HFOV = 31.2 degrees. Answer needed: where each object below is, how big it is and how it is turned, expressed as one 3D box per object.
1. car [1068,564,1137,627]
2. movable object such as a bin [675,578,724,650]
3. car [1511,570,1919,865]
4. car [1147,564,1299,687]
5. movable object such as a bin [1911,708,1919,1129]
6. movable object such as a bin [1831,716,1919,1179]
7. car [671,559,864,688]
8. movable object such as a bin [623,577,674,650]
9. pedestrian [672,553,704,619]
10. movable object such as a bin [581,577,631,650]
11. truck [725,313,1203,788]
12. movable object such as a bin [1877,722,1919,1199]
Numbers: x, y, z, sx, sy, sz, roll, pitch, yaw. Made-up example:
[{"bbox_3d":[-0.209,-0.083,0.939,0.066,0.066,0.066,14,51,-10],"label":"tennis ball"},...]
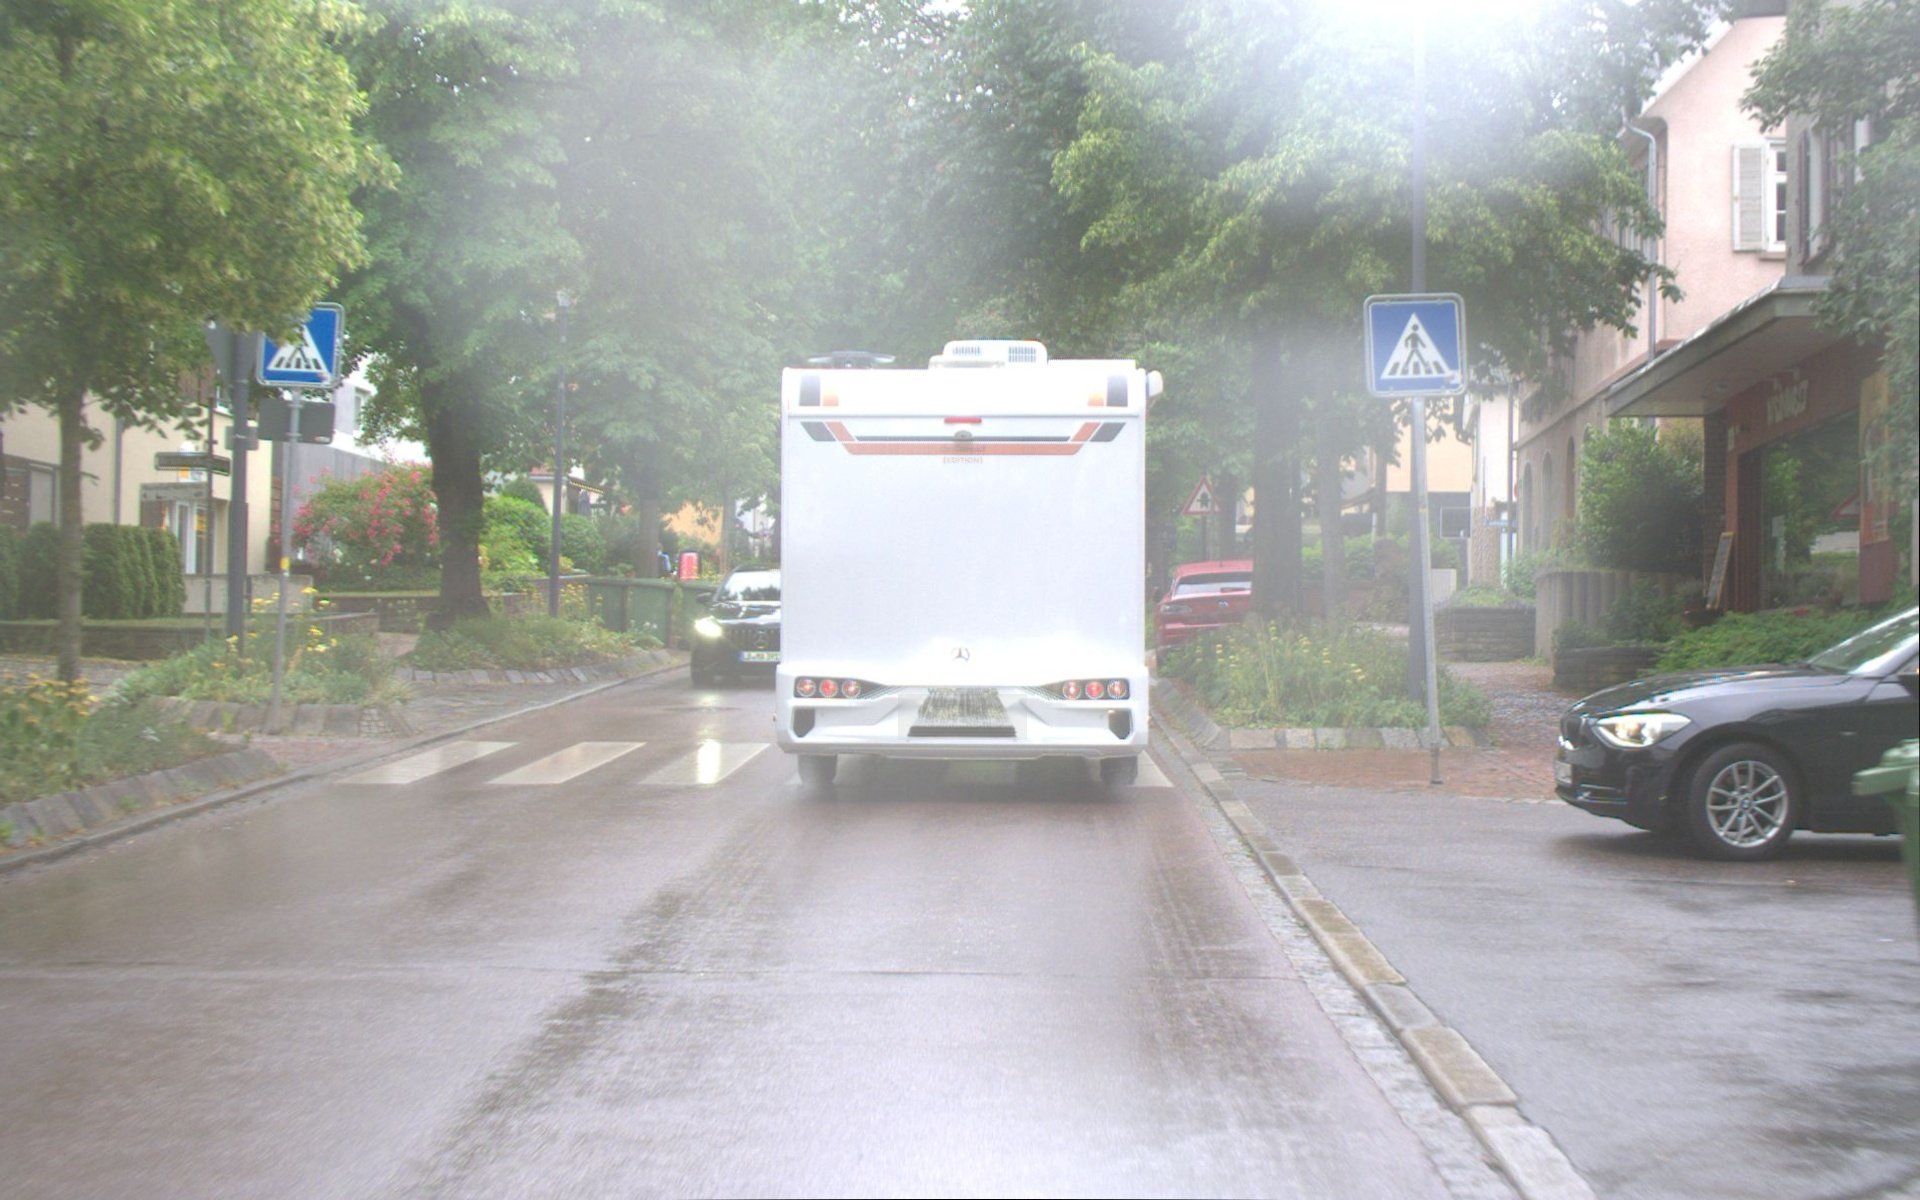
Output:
[{"bbox_3d":[3.527,-0.098,85.518,1.649,1.536,3.530,0,-1,2],"label":"car"},{"bbox_3d":[-3.971,0.213,52.482,0.670,1.091,0.817,1,-1,1],"label":"movable object such as a bin"},{"bbox_3d":[5.219,0.623,18.160,4.283,1.412,1.840,2,1,1],"label":"car"},{"bbox_3d":[3.458,0.295,45.401,1.855,1.467,4.364,2,1,4],"label":"car"},{"bbox_3d":[2.955,0.840,9.171,0.704,1.107,0.570,-1,-1,26],"label":"movable object such as a bin"},{"bbox_3d":[2.576,0.847,8.490,0.704,1.104,0.570,-1,-1,28],"label":"movable object such as a bin"},{"bbox_3d":[-2.244,0.242,41.223,1.855,1.380,4.408,3,1,2],"label":"car"},{"bbox_3d":[-4.757,0.211,52.525,0.670,1.101,0.817,1,-1,1],"label":"movable object such as a bin"},{"bbox_3d":[-7.610,-0.387,96.188,0.817,1.838,0.770,0,-1,1],"label":"pedestrian"},{"bbox_3d":[-5.458,0.212,53.020,0.670,1.101,0.817,1,-1,1],"label":"movable object such as a bin"},{"bbox_3d":[0.063,-0.261,23.298,2.806,2.787,6.106,0,-1,1],"label":"truck"},{"bbox_3d":[2.470,0.848,7.836,0.704,1.120,0.571,0,-1,17],"label":"movable object such as a bin"}]
